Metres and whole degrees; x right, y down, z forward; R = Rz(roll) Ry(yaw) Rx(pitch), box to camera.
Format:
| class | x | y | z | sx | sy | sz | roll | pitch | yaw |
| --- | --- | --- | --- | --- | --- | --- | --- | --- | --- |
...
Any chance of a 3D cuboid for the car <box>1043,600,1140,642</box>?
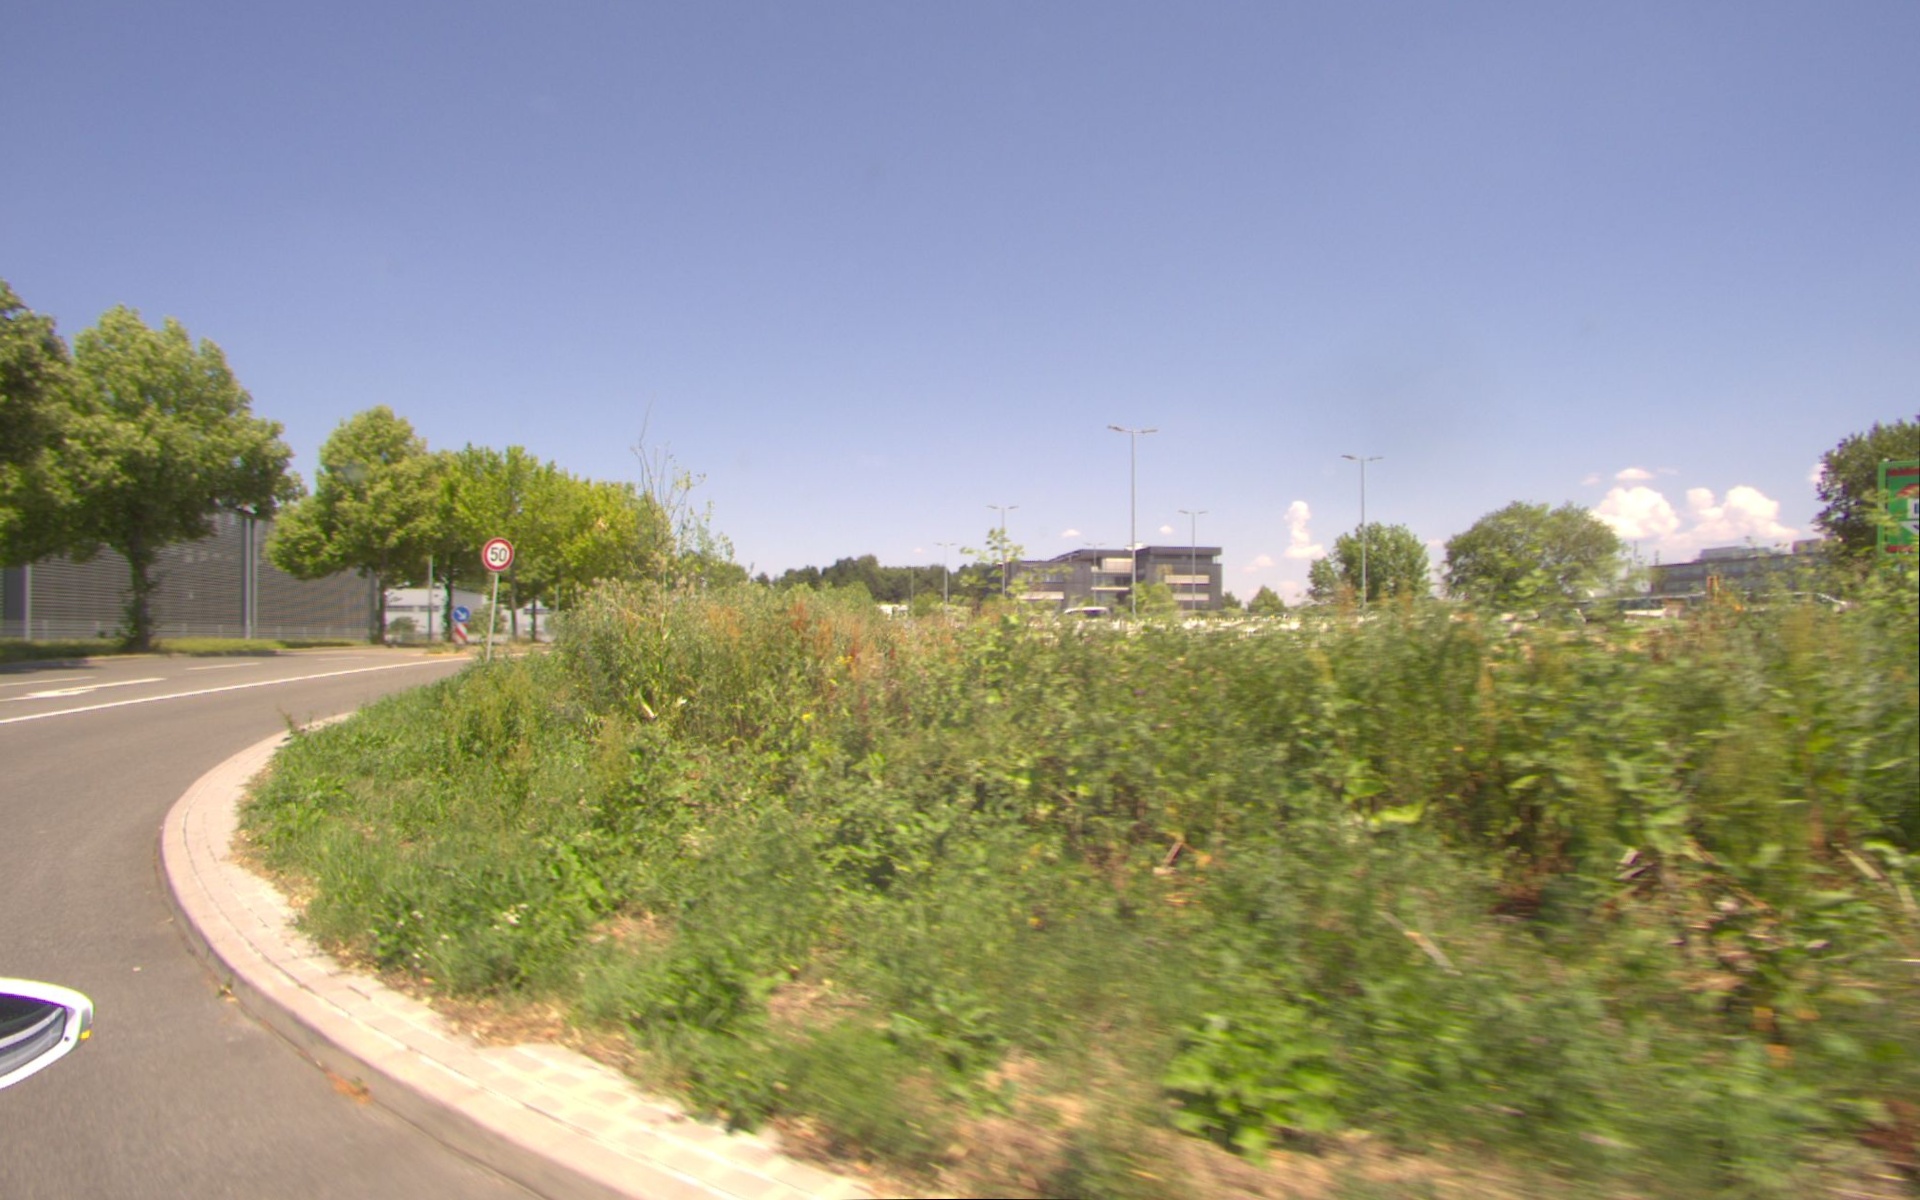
| class | x | y | z | sx | sy | sz | roll | pitch | yaw |
| --- | --- | --- | --- | --- | --- | --- | --- | --- | --- |
| car | 6.514 | 1.045 | 49.844 | 4.394 | 1.940 | 1.938 | -1 | 0 | -12 |

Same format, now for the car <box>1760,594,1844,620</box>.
| class | x | y | z | sx | sy | sz | roll | pitch | yaw |
| --- | --- | --- | --- | --- | --- | --- | --- | --- | --- |
| car | 54.757 | 0.487 | 65.140 | 1.857 | 1.548 | 3.964 | 1 | -3 | -43 |

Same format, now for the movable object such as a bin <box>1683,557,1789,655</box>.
| class | x | y | z | sx | sy | sz | roll | pitch | yaw |
| --- | --- | --- | --- | --- | --- | --- | --- | --- | --- |
| movable object such as a bin | 35.832 | 0.171 | 46.137 | 2.957 | 4.100 | 8.027 | 1 | 2 | 44 |

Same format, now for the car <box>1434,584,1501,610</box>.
| class | x | y | z | sx | sy | sz | roll | pitch | yaw |
| --- | --- | --- | --- | --- | --- | --- | --- | --- | --- |
| car | 34.528 | -0.204 | 68.128 | 3.933 | 1.662 | 1.993 | -1 | 1 | -22 |
